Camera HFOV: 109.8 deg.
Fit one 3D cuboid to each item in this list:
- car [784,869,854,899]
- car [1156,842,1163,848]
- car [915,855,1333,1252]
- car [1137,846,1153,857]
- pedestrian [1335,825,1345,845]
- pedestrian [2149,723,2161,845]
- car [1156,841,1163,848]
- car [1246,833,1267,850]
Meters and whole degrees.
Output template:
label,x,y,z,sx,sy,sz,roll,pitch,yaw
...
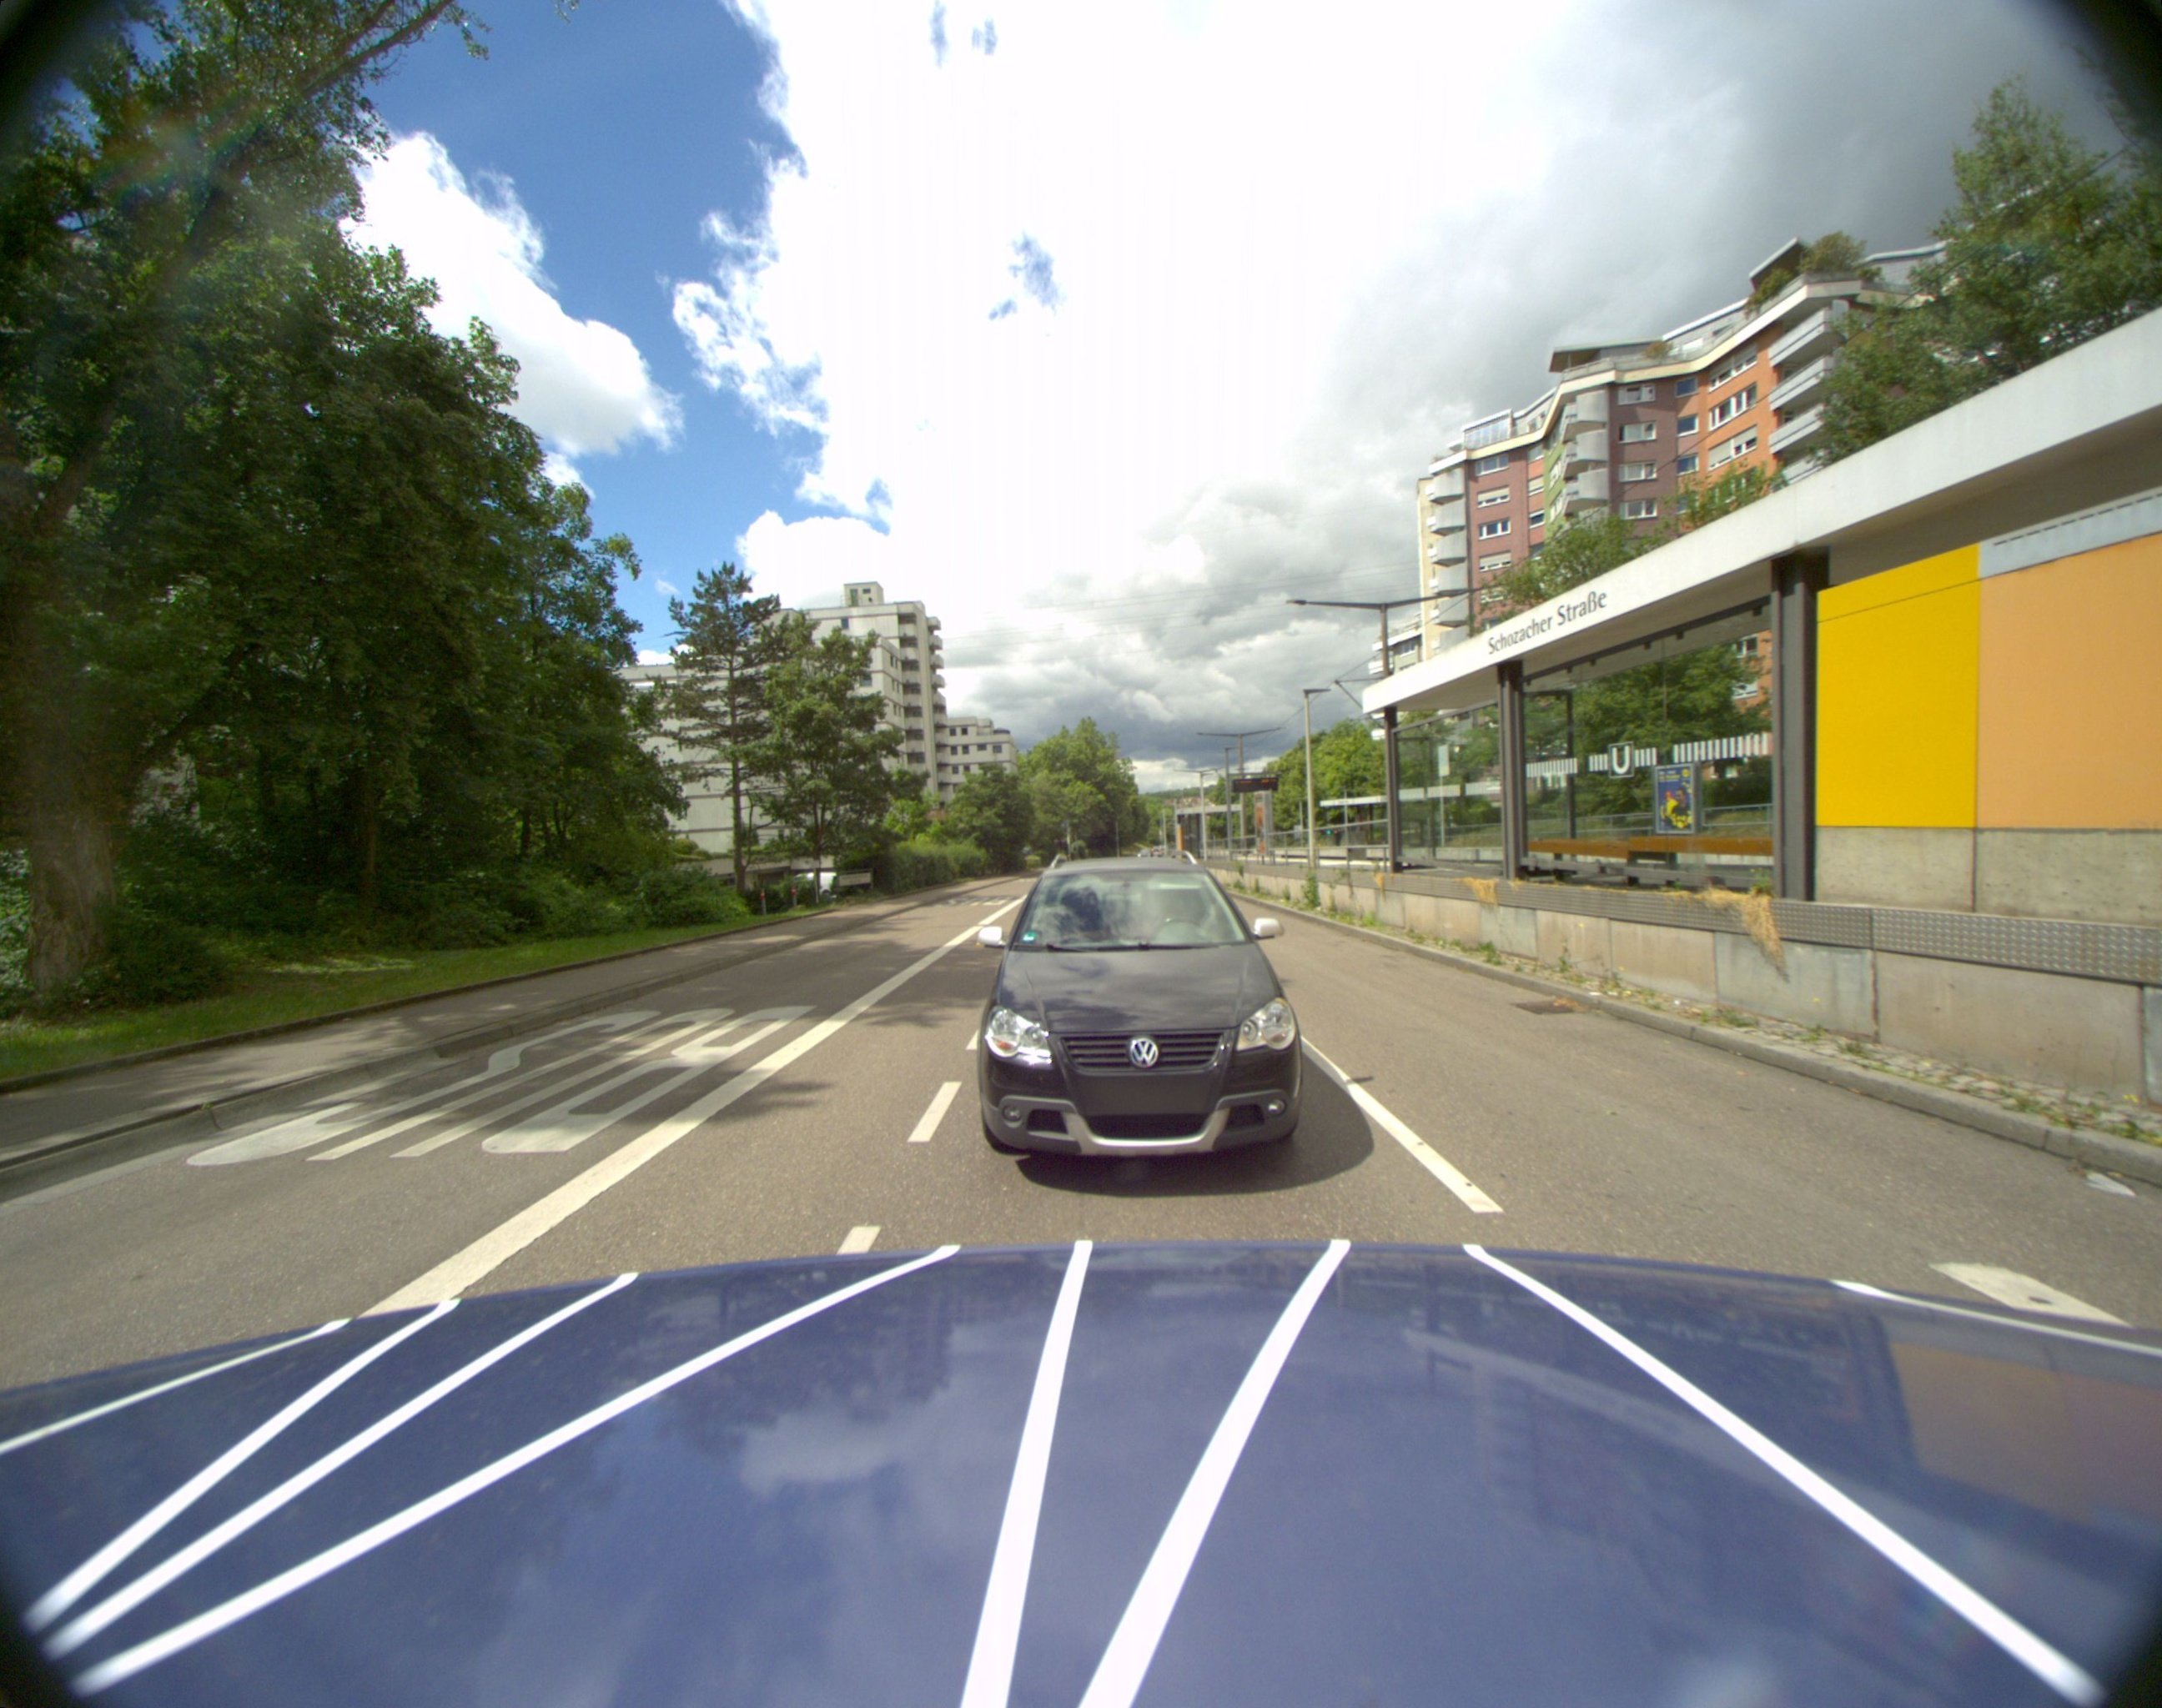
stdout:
label,x,y,z,sx,sy,sz,roll,pitch,yaw
car,-19.886,2.237,57.810,4.543,2.002,2.001,-2,1,7
car,19.221,-2.120,186.823,1.643,1.395,3.708,-2,1,4
car,0.266,0.828,5.094,1.641,1.521,4.000,-2,1,3
car,8.362,-0.335,99.518,1.821,1.377,4.065,-2,1,2
pedestrian,16.405,-1.202,48.130,0.535,1.270,0.562,-2,1,21
pedestrian,15.268,-0.981,10.574,0.354,1.703,0.426,-3,2,-41
car,22.835,-2.805,220.767,1.801,1.698,4.000,-3,1,4
car,22.160,-1.597,96.153,1.737,2.002,4.000,-2,1,2
